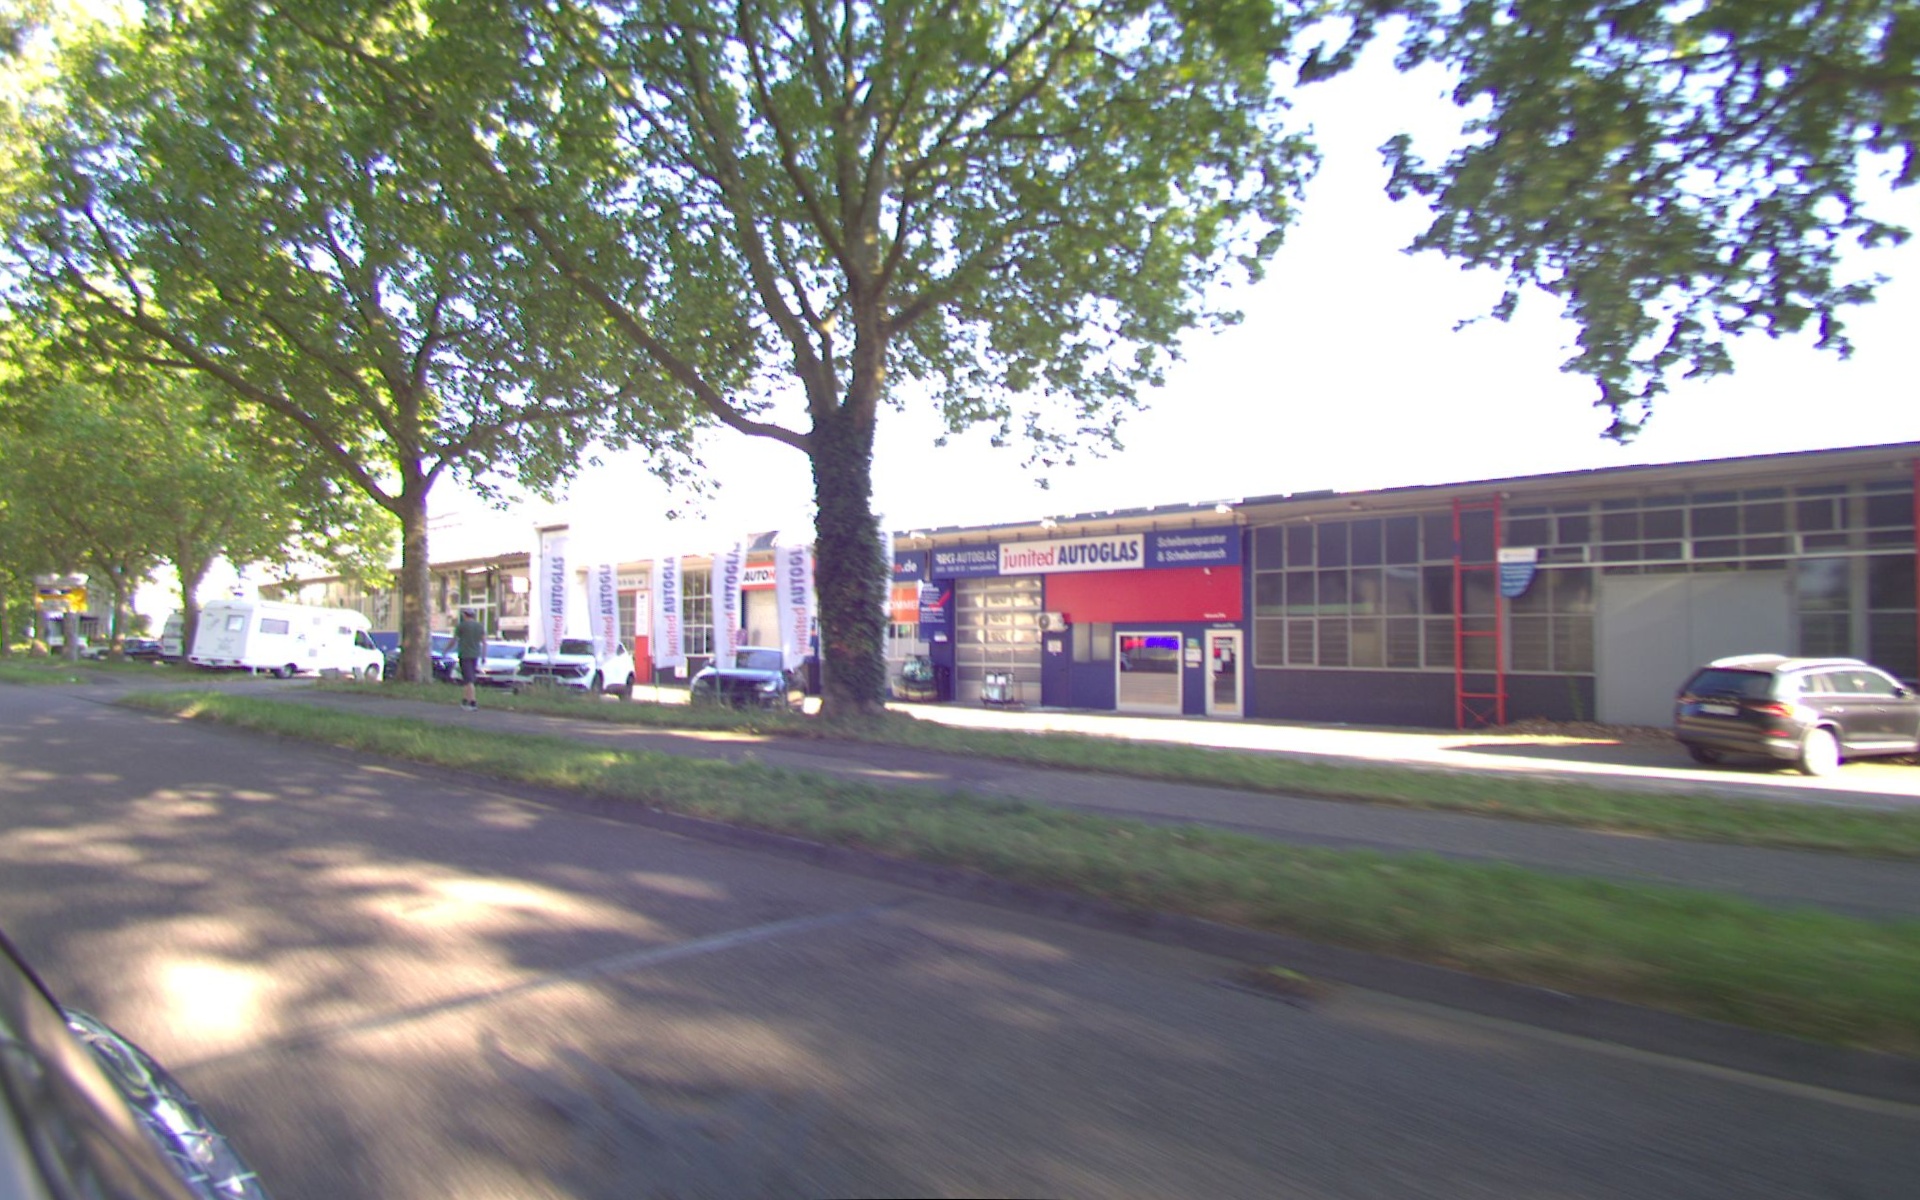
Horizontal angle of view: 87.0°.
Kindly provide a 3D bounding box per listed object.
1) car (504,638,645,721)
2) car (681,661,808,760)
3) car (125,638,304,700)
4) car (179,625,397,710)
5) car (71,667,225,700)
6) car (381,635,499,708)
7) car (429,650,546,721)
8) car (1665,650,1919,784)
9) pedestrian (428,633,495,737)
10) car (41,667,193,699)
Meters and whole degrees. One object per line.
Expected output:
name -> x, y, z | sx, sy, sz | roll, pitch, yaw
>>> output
car -> -9.307, 1.857, 24.823 | 1.971, 1.764, 4.315 | -1, -1, -3
car -> -4.099, 2.068, 19.857 | 1.970, 1.587, 3.846 | -1, -1, -5
car -> -33.398, 3.217, 45.664 | 2.574, 2.517, 6.302 | -1, -7, 11
car -> -25.146, 2.713, 38.378 | 2.575, 2.875, 6.930 | -1, -7, 12
car -> -46.699, 4.861, 58.440 | 2.708, 1.693, 6.373 | -3, -7, 22
car -> -14.665, 1.955, 28.805 | 1.967, 1.854, 4.259 | -1, -2, -12
car -> -12.325, 2.175, 26.668 | 1.967, 1.582, 4.061 | -1, -2, -12
car -> 13.238, 1.692, 15.595 | 3.931, 1.719, 2.006 | 0, -2, -22
pedestrian -> -8.919, 1.494, 18.099 | 0.940, 1.786, 0.795 | -3, -2, 43
car -> -49.434, 4.947, 59.564 | 2.708, 1.693, 6.321 | -3, -7, 22
